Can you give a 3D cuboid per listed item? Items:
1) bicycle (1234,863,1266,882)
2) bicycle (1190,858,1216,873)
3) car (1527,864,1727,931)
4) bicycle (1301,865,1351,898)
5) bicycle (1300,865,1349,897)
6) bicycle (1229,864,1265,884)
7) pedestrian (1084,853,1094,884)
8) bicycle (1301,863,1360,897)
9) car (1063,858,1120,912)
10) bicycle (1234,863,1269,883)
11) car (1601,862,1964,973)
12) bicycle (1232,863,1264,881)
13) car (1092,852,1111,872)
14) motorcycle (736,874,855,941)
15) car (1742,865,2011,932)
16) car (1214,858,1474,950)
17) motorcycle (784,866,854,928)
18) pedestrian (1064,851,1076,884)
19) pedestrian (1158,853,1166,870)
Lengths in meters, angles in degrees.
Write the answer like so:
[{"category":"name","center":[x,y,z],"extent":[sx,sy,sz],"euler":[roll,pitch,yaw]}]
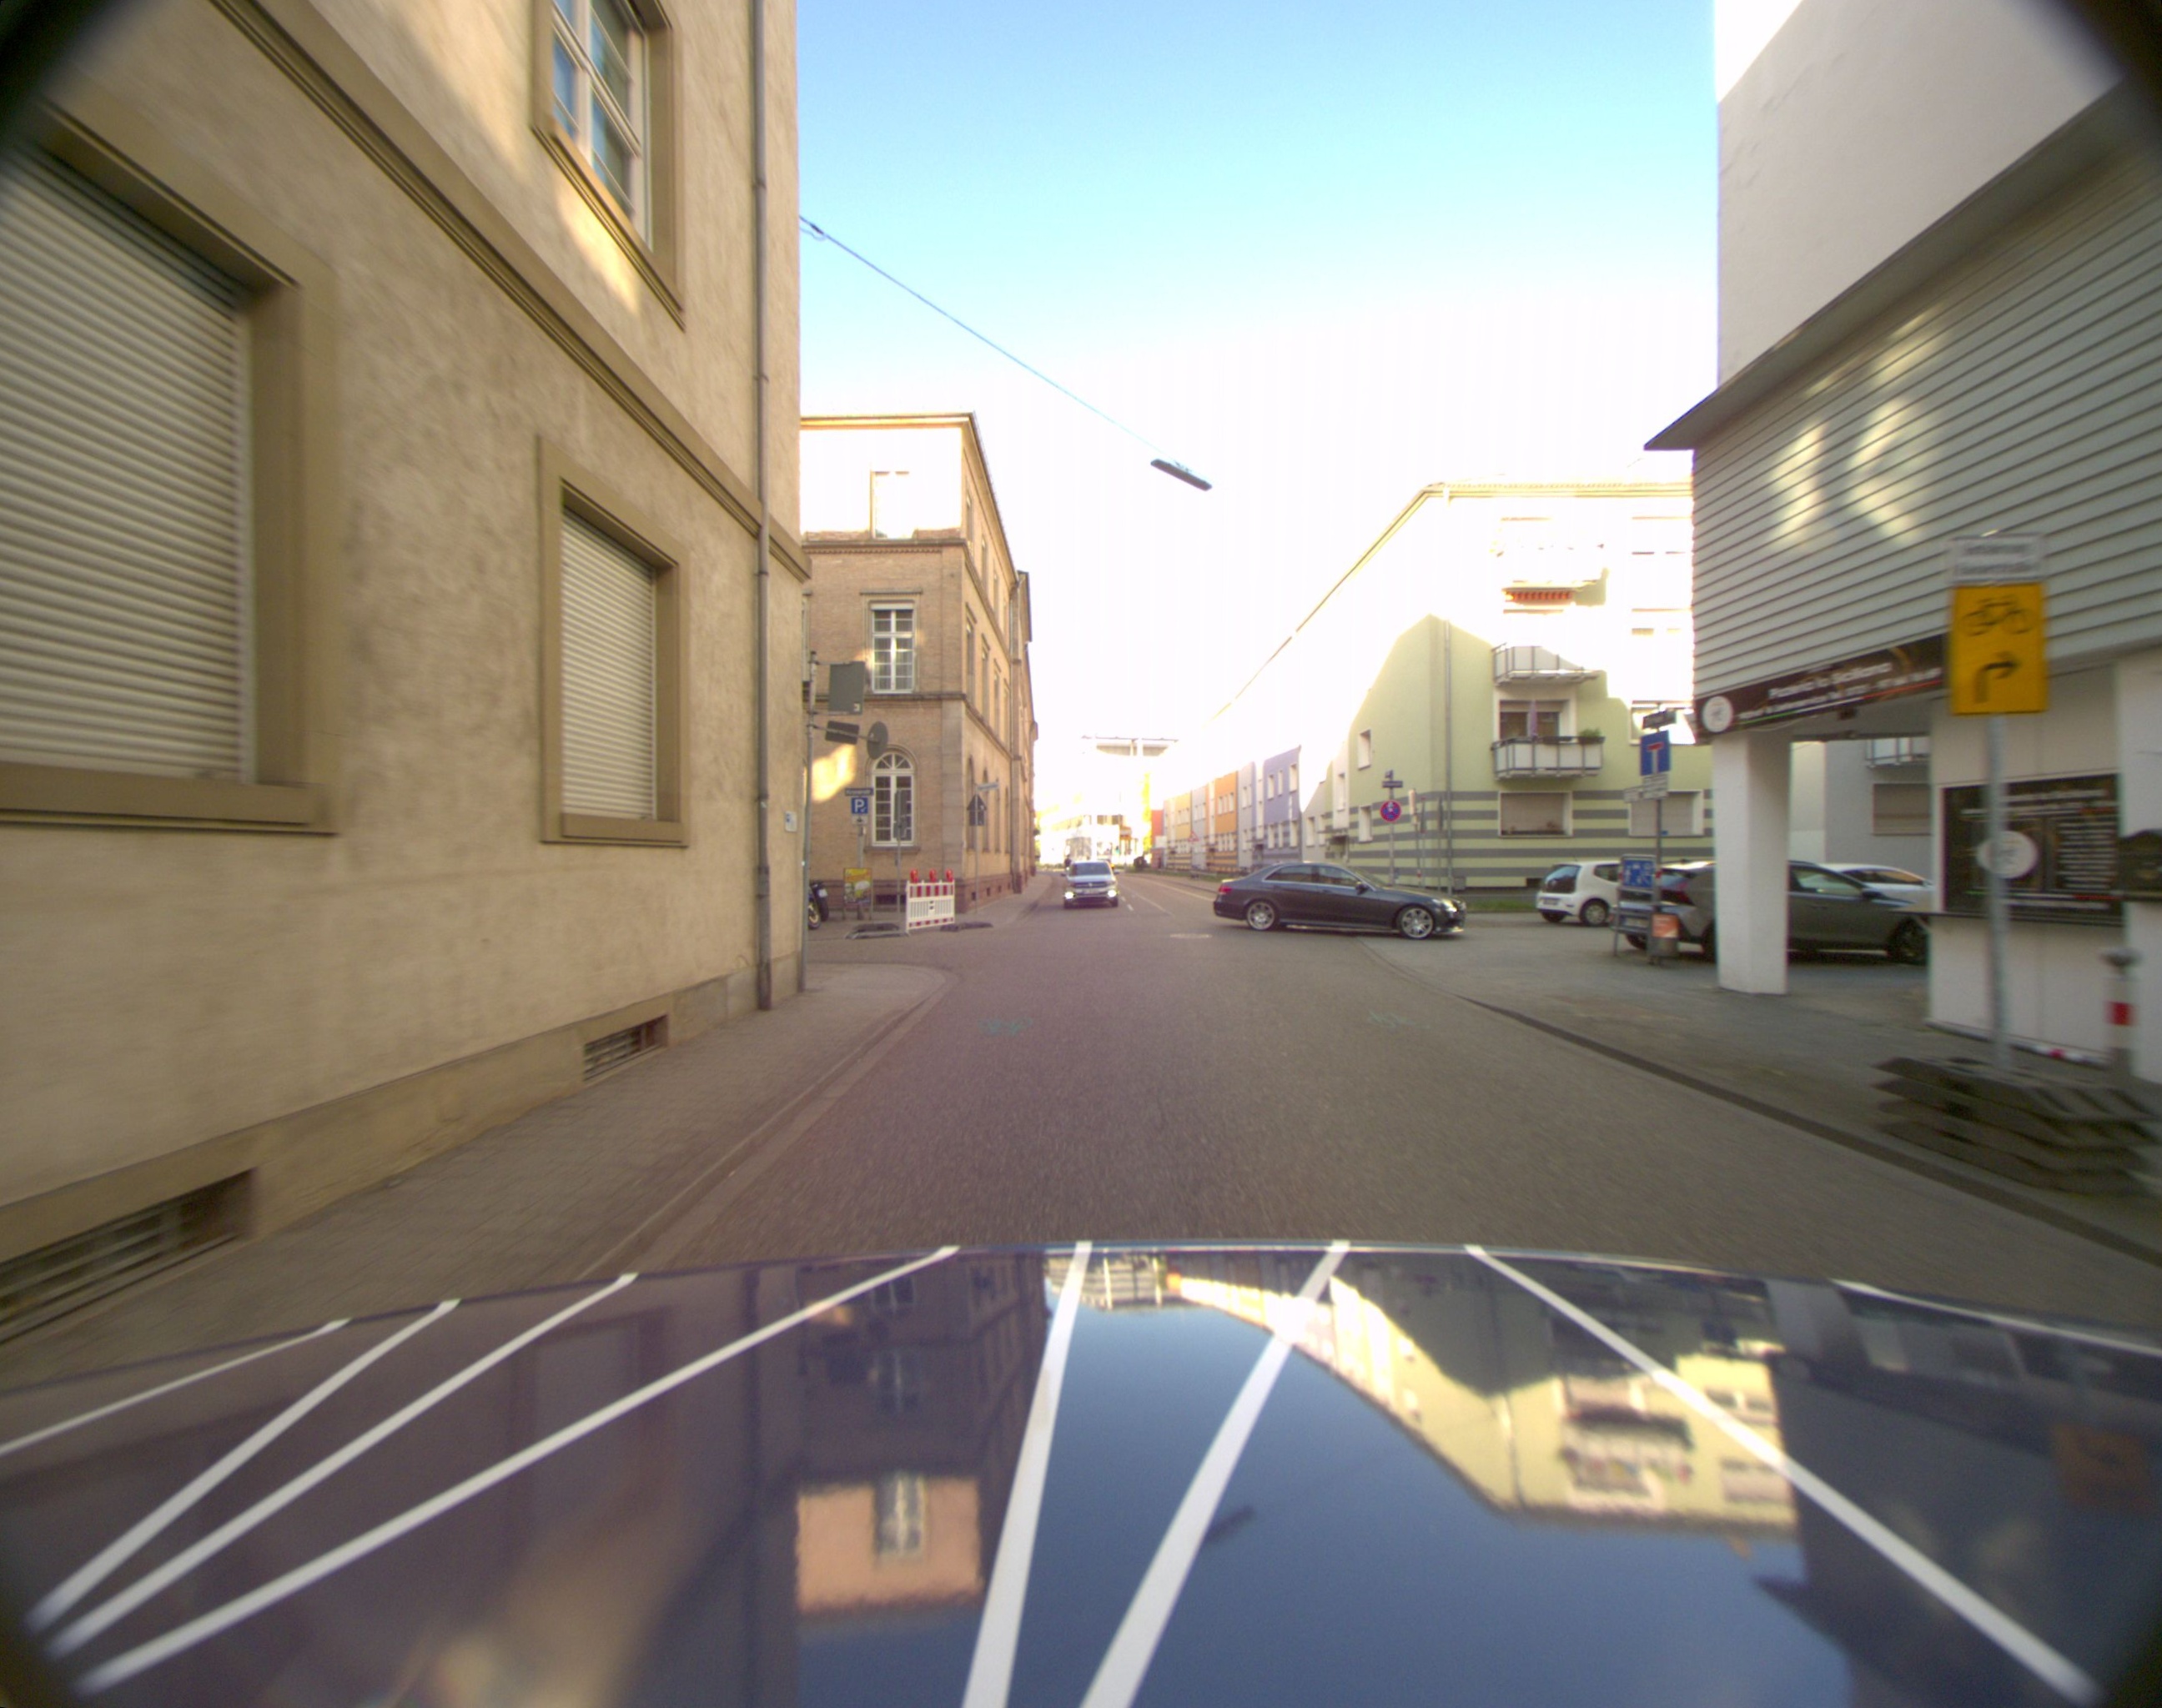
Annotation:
[{"category":"bicycle","center":[9.600,1.038,43.129],"extent":[1.657,0.940,0.388],"euler":[-4,0,1]},{"category":"bicycle","center":[9.277,0.890,57.846],"extent":[1.807,0.977,0.654],"euler":[-5,1,-3]},{"category":"car","center":[12.356,0.951,17.357],"extent":[3.342,1.428,1.725],"euler":[0,0,-1]},{"category":"bicycle","center":[9.246,1.038,28.709],"extent":[1.738,1.094,0.388],"euler":[-4,0,-6]},{"category":"bicycle","center":[9.331,1.033,29.113],"extent":[1.738,1.094,0.388],"euler":[-4,0,-6]},{"category":"bicycle","center":[9.015,1.071,41.189],"extent":[1.803,0.940,0.388],"euler":[-4,0,1]},{"category":"pedestrian","center":[0.475,0.856,44.980],"extent":[0.603,1.770,0.652],"euler":[0,0,0]},{"category":"bicycle","center":[8.952,0.930,27.276],"extent":[1.820,1.094,0.749],"euler":[-4,0,0]},{"category":"car","center":[0.322,0.969,25.577],"extent":[1.683,1.568,4.242],"euler":[-3,0,0]},{"category":"bicycle","center":[9.392,1.052,41.876],"extent":[1.803,0.940,0.388],"euler":[-4,0,1]},{"category":"car","center":[10.394,0.898,11.477],"extent":[3.942,1.511,1.692],"euler":[0,0,-1]},{"category":"bicycle","center":[9.562,1.032,43.536],"extent":[1.657,0.940,0.388],"euler":[-4,0,1]},{"category":"car","center":[2.022,0.744,74.653],"extent":[1.682,1.776,4.242],"euler":[-3,0,1]},{"category":"motorcycle","center":[-5.947,1.071,15.927],"extent":[0.872,1.218,2.154],"euler":[3,3,45]},{"category":"car","center":[17.984,0.971,17.320],"extent":[4.326,1.389,1.759],"euler":[0,0,-1]},{"category":"car","center":[5.217,0.889,15.338],"extent":[4.657,1.471,1.790],"euler":[1,3,32]},{"category":"motorcycle","center":[-6.208,0.984,17.958],"extent":[2.073,1.325,0.708],"euler":[1,1,45]},{"category":"pedestrian","center":[-0.660,0.812,46.049],"extent":[0.677,1.928,0.858],"euler":[0,0,0]},{"category":"pedestrian","center":[7.905,0.698,74.226],"extent":[0.612,1.641,0.447],"euler":[0,0,-5]}]
